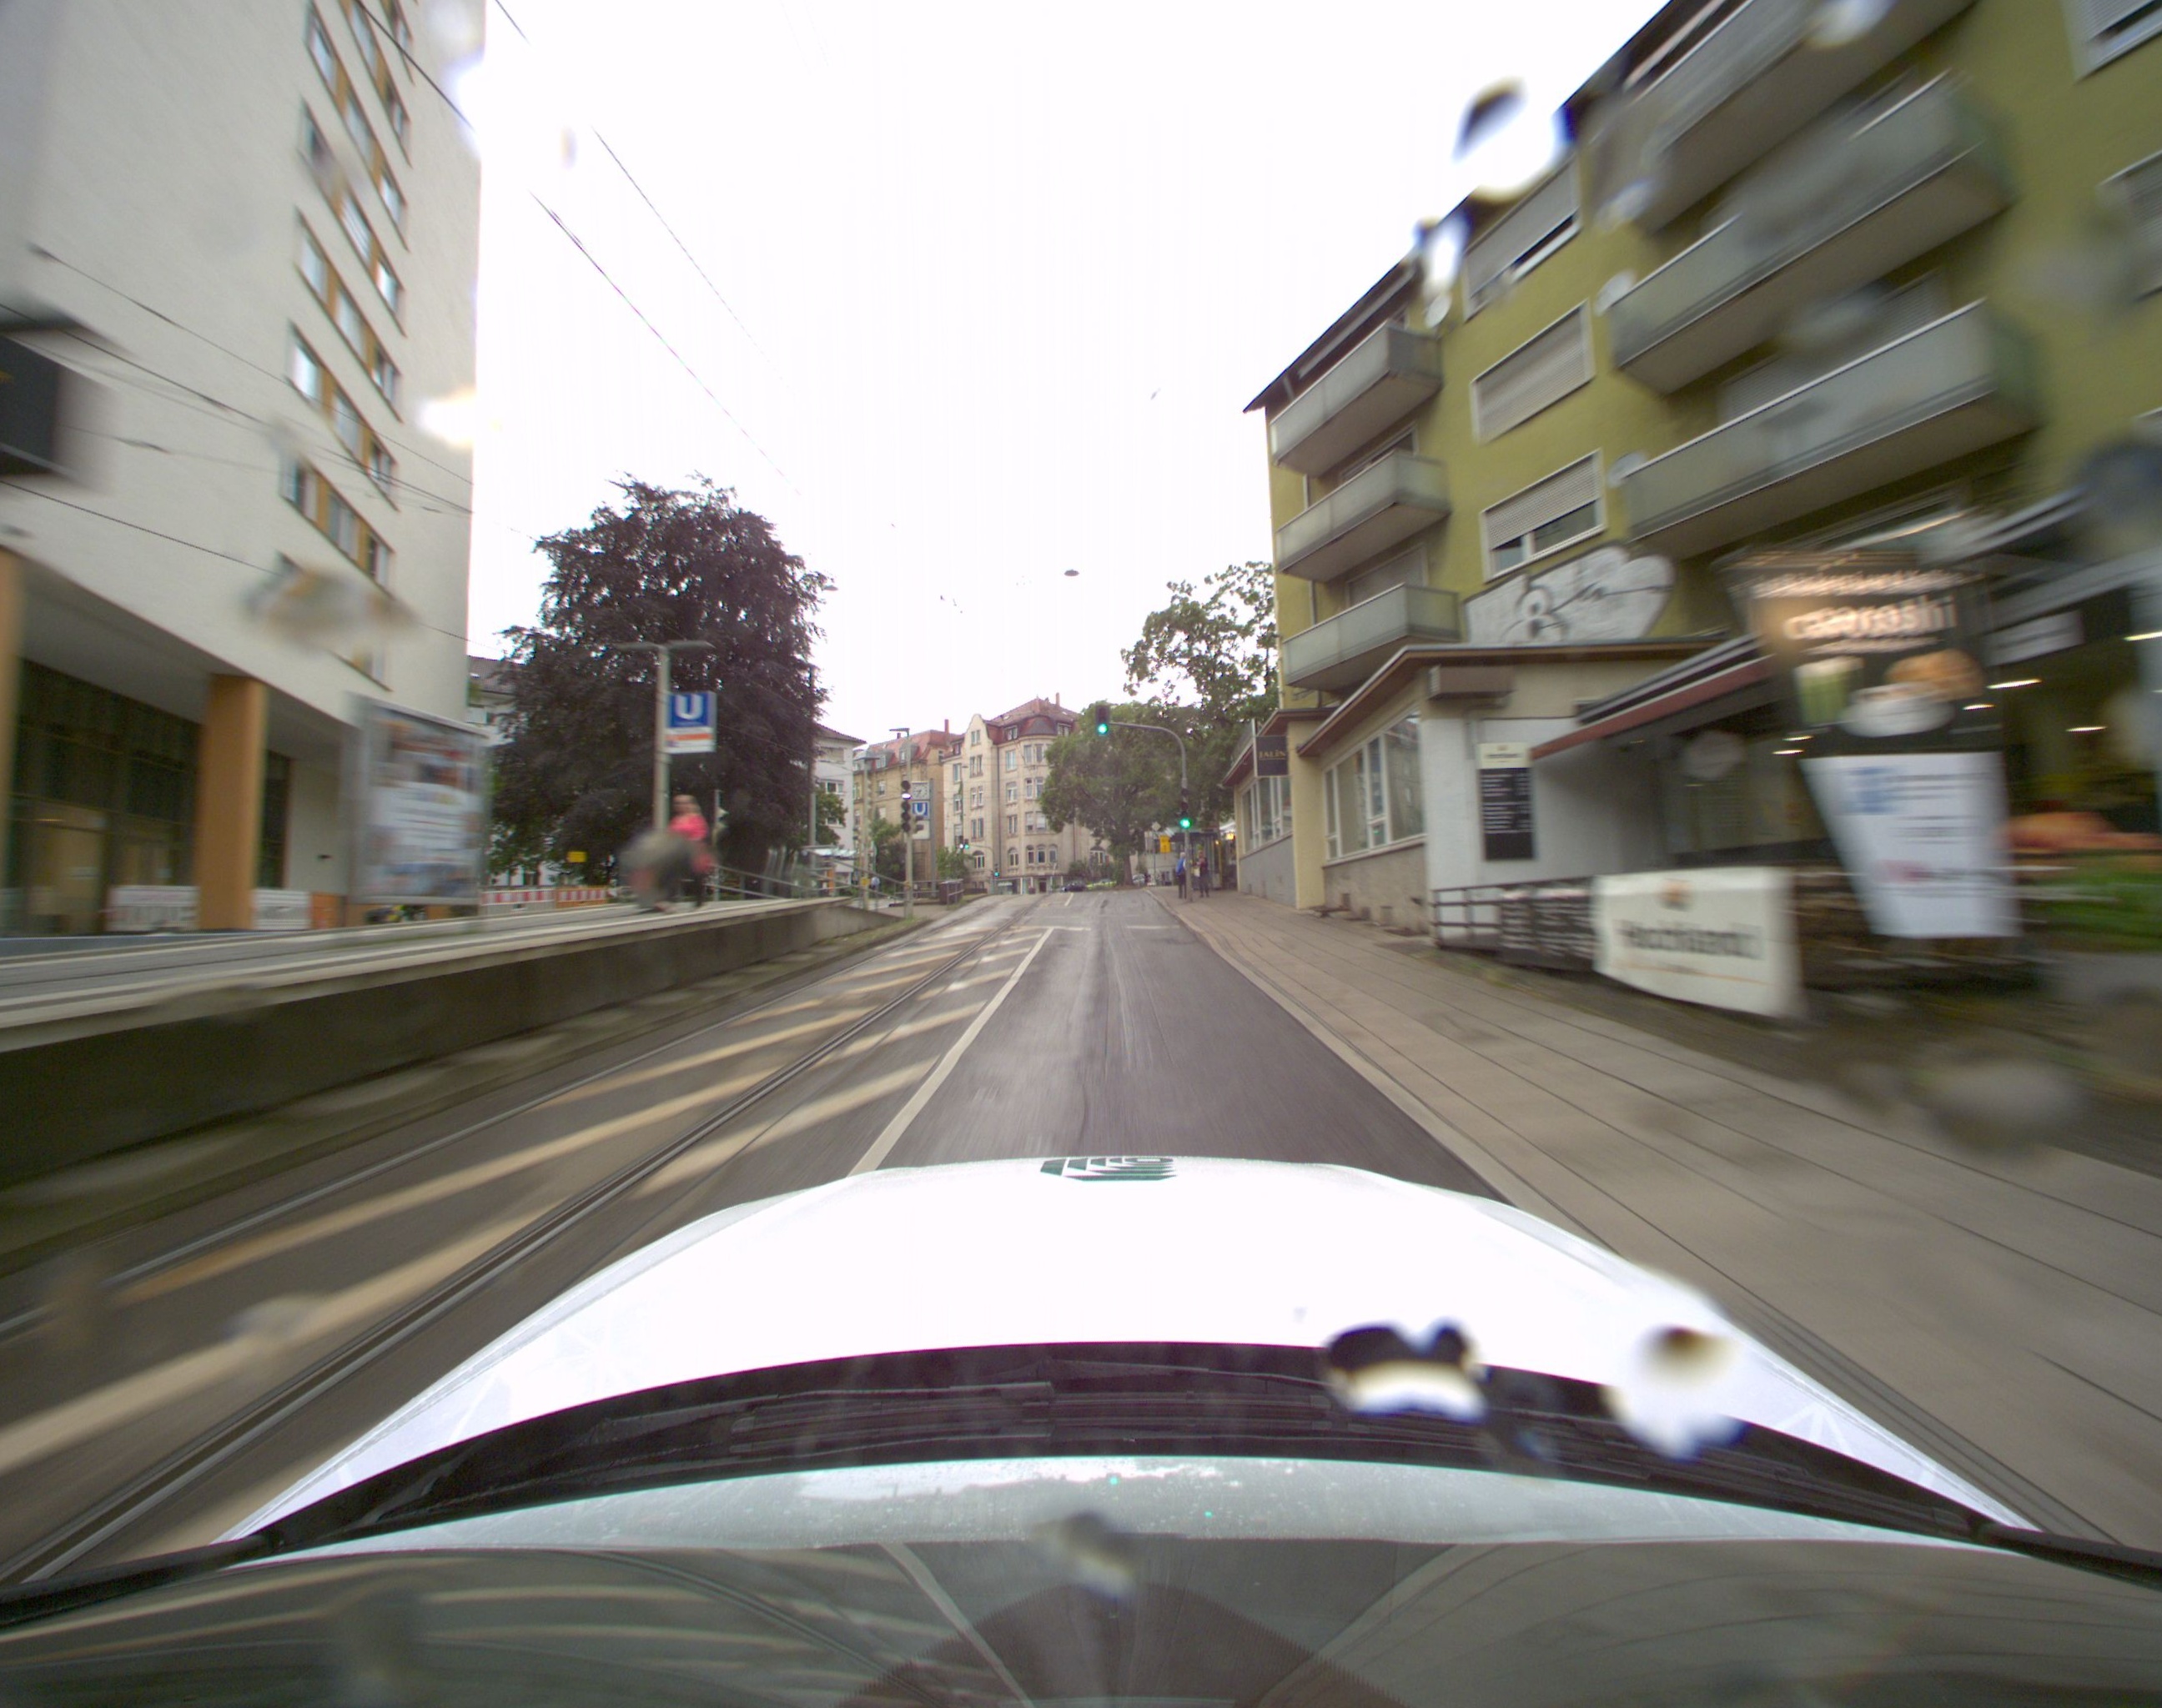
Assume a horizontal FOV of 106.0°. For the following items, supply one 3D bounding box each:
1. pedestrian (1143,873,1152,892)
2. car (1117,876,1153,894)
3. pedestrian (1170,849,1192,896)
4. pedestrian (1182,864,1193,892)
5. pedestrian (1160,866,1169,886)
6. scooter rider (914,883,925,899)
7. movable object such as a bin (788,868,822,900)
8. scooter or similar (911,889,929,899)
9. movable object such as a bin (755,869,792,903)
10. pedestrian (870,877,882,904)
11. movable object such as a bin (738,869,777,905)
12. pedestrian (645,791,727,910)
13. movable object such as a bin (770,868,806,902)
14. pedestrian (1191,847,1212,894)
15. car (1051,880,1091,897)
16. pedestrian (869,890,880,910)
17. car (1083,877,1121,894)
[{"bbox_3d":[5.597,2.400,68.302,0.599,1.566,0.544,0,-1,-8],"label":"pedestrian"},{"bbox_3d":[5.809,3.357,87.948,3.796,1.508,1.603,-4,-3,-45],"label":"car"},{"bbox_3d":[3.394,0.620,27.671,0.586,1.554,0.650,-4,-1,1],"label":"pedestrian"},{"bbox_3d":[4.493,0.996,34.518,0.324,1.150,0.317,-5,0,-2],"label":"pedestrian"},{"bbox_3d":[6.917,1.847,67.474,0.547,1.629,0.595,0,-1,-32],"label":"pedestrian"},{"bbox_3d":[-17.550,4.063,88.579,0.833,1.706,0.628,-1,-6,29],"label":"scooter rider"},{"bbox_3d":[-12.982,1.393,38.357,1.016,1.434,1.429,0,-1,4],"label":"movable object such as a bin"},{"bbox_3d":[-17.546,4.396,88.589,1.983,1.050,0.518,-1,-6,29],"label":"scooter or similar"},{"bbox_3d":[-13.166,1.361,34.926,1.016,1.434,1.357,0,-1,4],"label":"movable object such as a bin"},{"bbox_3d":[-13.168,2.347,52.309,0.567,1.684,0.774,-3,-2,-6],"label":"pedestrian"},{"bbox_3d":[-13.271,1.349,33.469,1.016,1.434,1.305,0,-1,4],"label":"movable object such as a bin"},{"bbox_3d":[-5.362,-0.046,11.105,0.668,1.548,0.771,-2,0,1],"label":"pedestrian"},{"bbox_3d":[-13.141,1.377,36.560,1.016,1.434,1.446,0,-1,4],"label":"movable object such as a bin"},{"bbox_3d":[4.162,0.562,28.147,0.544,1.554,0.558,-4,-1,-1],"label":"pedestrian"},{"bbox_3d":[-0.988,3.460,81.753,3.690,1.508,1.717,-3,-2,-40],"label":"car"},{"bbox_3d":[-18.354,4.060,72.479,0.749,1.700,0.665,0,-1,-43],"label":"pedestrian"},{"bbox_3d":[2.199,3.308,84.796,3.690,1.508,1.717,-3,-2,-40],"label":"car"}]
